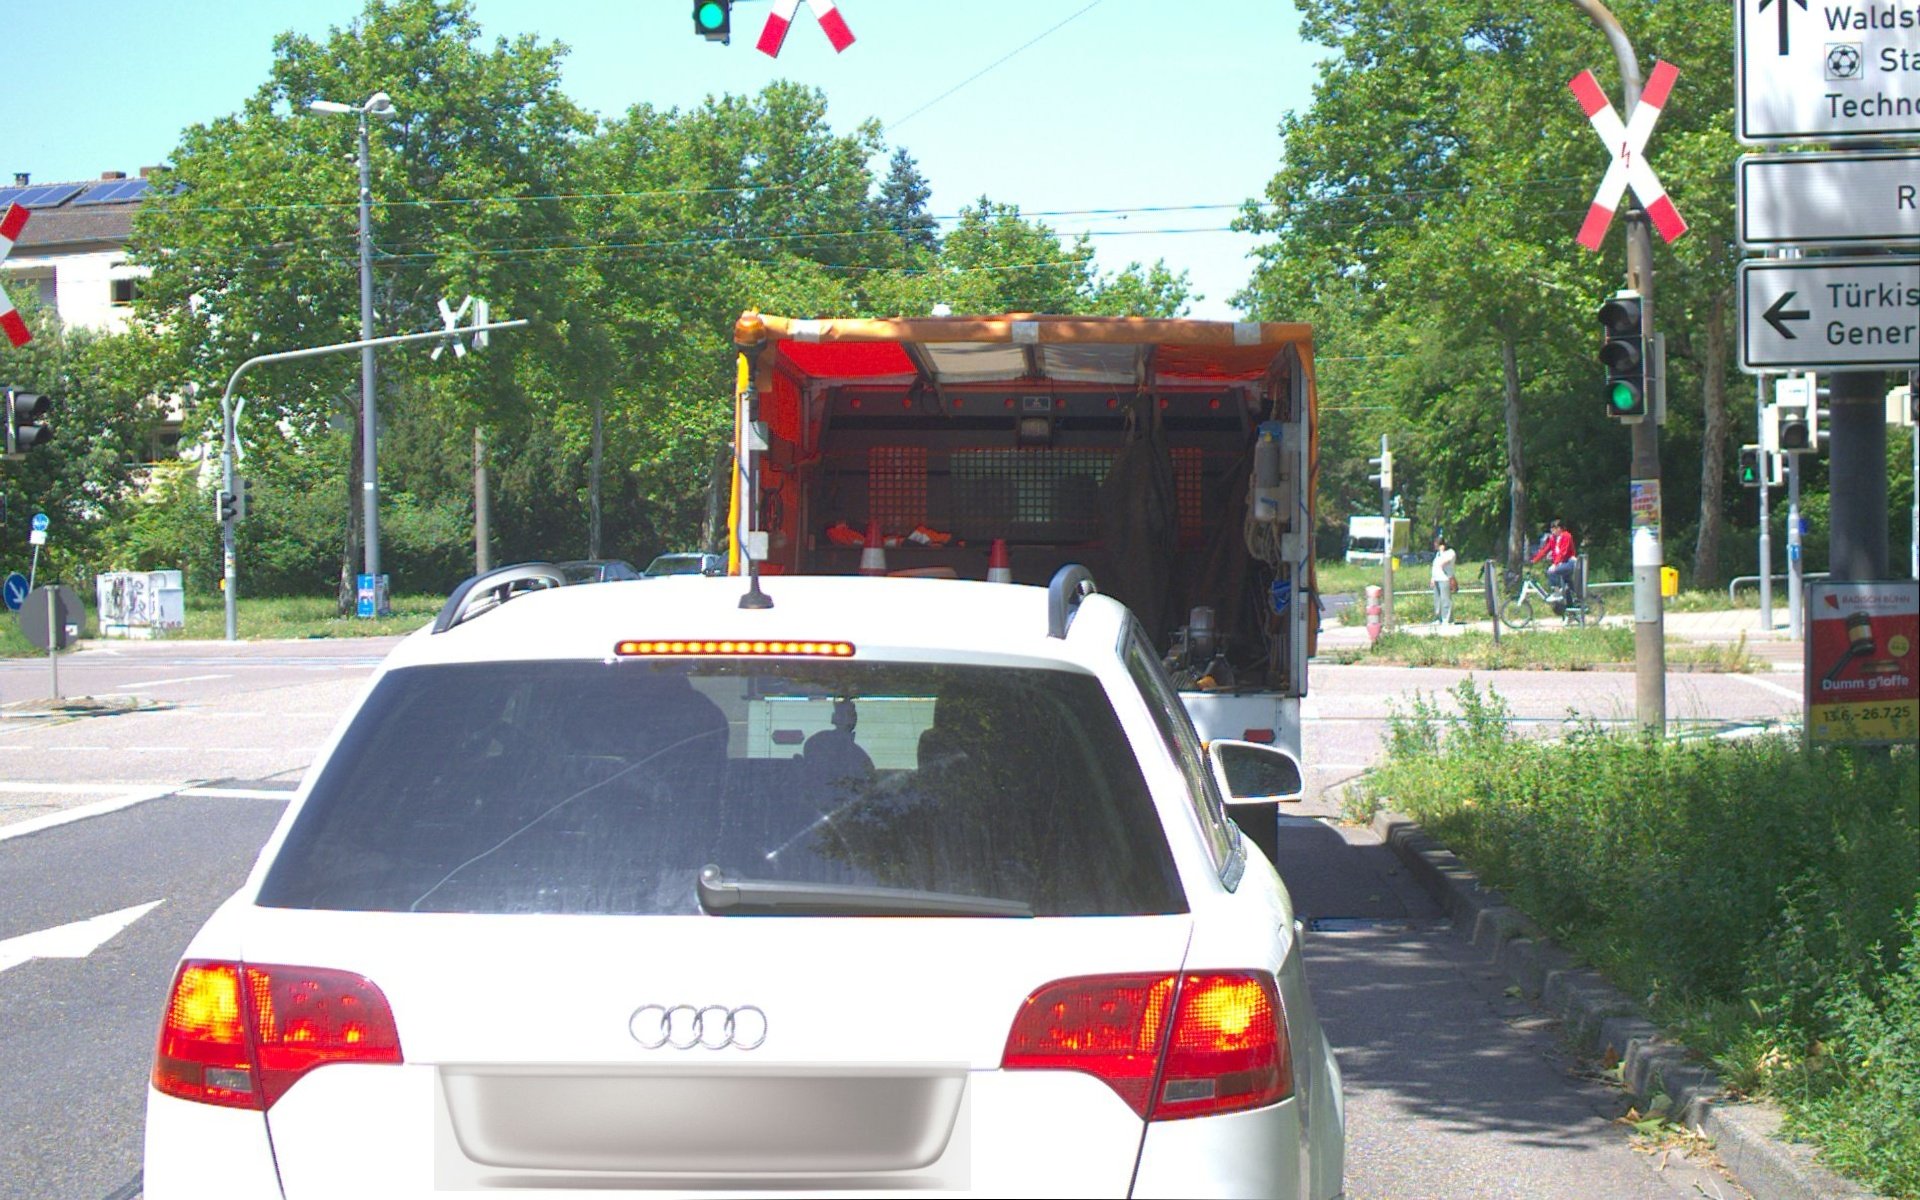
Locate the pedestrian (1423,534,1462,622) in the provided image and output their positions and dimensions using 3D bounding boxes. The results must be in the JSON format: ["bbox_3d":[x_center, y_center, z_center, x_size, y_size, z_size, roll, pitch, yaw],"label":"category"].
[{"bbox_3d":[8.178,-0.379,58.263,0.553,1.479,0.629,-1,1,16],"label":"pedestrian"}]

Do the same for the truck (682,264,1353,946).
[{"bbox_3d":[0.383,-0.029,16.843,2.511,2.551,7.603,1,1,3],"label":"truck"}]

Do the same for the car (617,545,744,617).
[{"bbox_3d":[-6.538,-0.465,80.756,1.788,1.609,4.402,-1,1,12],"label":"car"}]

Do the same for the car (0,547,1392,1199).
[{"bbox_3d":[-0.253,0.639,5.974,1.763,1.440,3.615,0,1,4],"label":"car"}]

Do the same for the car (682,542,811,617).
[{"bbox_3d":[-4.572,-0.466,74.133,1.909,1.533,4.297,-1,1,8],"label":"car"}]

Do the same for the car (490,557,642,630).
[{"bbox_3d":[-8.387,-0.160,73.660,1.950,1.435,4.744,0,2,10],"label":"car"}]

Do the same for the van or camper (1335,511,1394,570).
[{"bbox_3d":[23.573,-3.456,200.223,2.662,3.320,5.497,0,1,14],"label":"van or camper"}]

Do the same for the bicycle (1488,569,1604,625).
[{"bbox_3d":[9.506,-0.052,55.834,1.806,0.892,0.589,0,1,5],"label":"bicycle"}]

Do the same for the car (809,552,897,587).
[{"bbox_3d":[-4.307,-1.242,139.191,1.884,1.388,3.994,0,1,26],"label":"car"}]

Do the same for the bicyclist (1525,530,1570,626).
[{"bbox_3d":[9.540,-0.359,55.829,0.671,1.551,0.579,0,1,5],"label":"bicyclist"}]
